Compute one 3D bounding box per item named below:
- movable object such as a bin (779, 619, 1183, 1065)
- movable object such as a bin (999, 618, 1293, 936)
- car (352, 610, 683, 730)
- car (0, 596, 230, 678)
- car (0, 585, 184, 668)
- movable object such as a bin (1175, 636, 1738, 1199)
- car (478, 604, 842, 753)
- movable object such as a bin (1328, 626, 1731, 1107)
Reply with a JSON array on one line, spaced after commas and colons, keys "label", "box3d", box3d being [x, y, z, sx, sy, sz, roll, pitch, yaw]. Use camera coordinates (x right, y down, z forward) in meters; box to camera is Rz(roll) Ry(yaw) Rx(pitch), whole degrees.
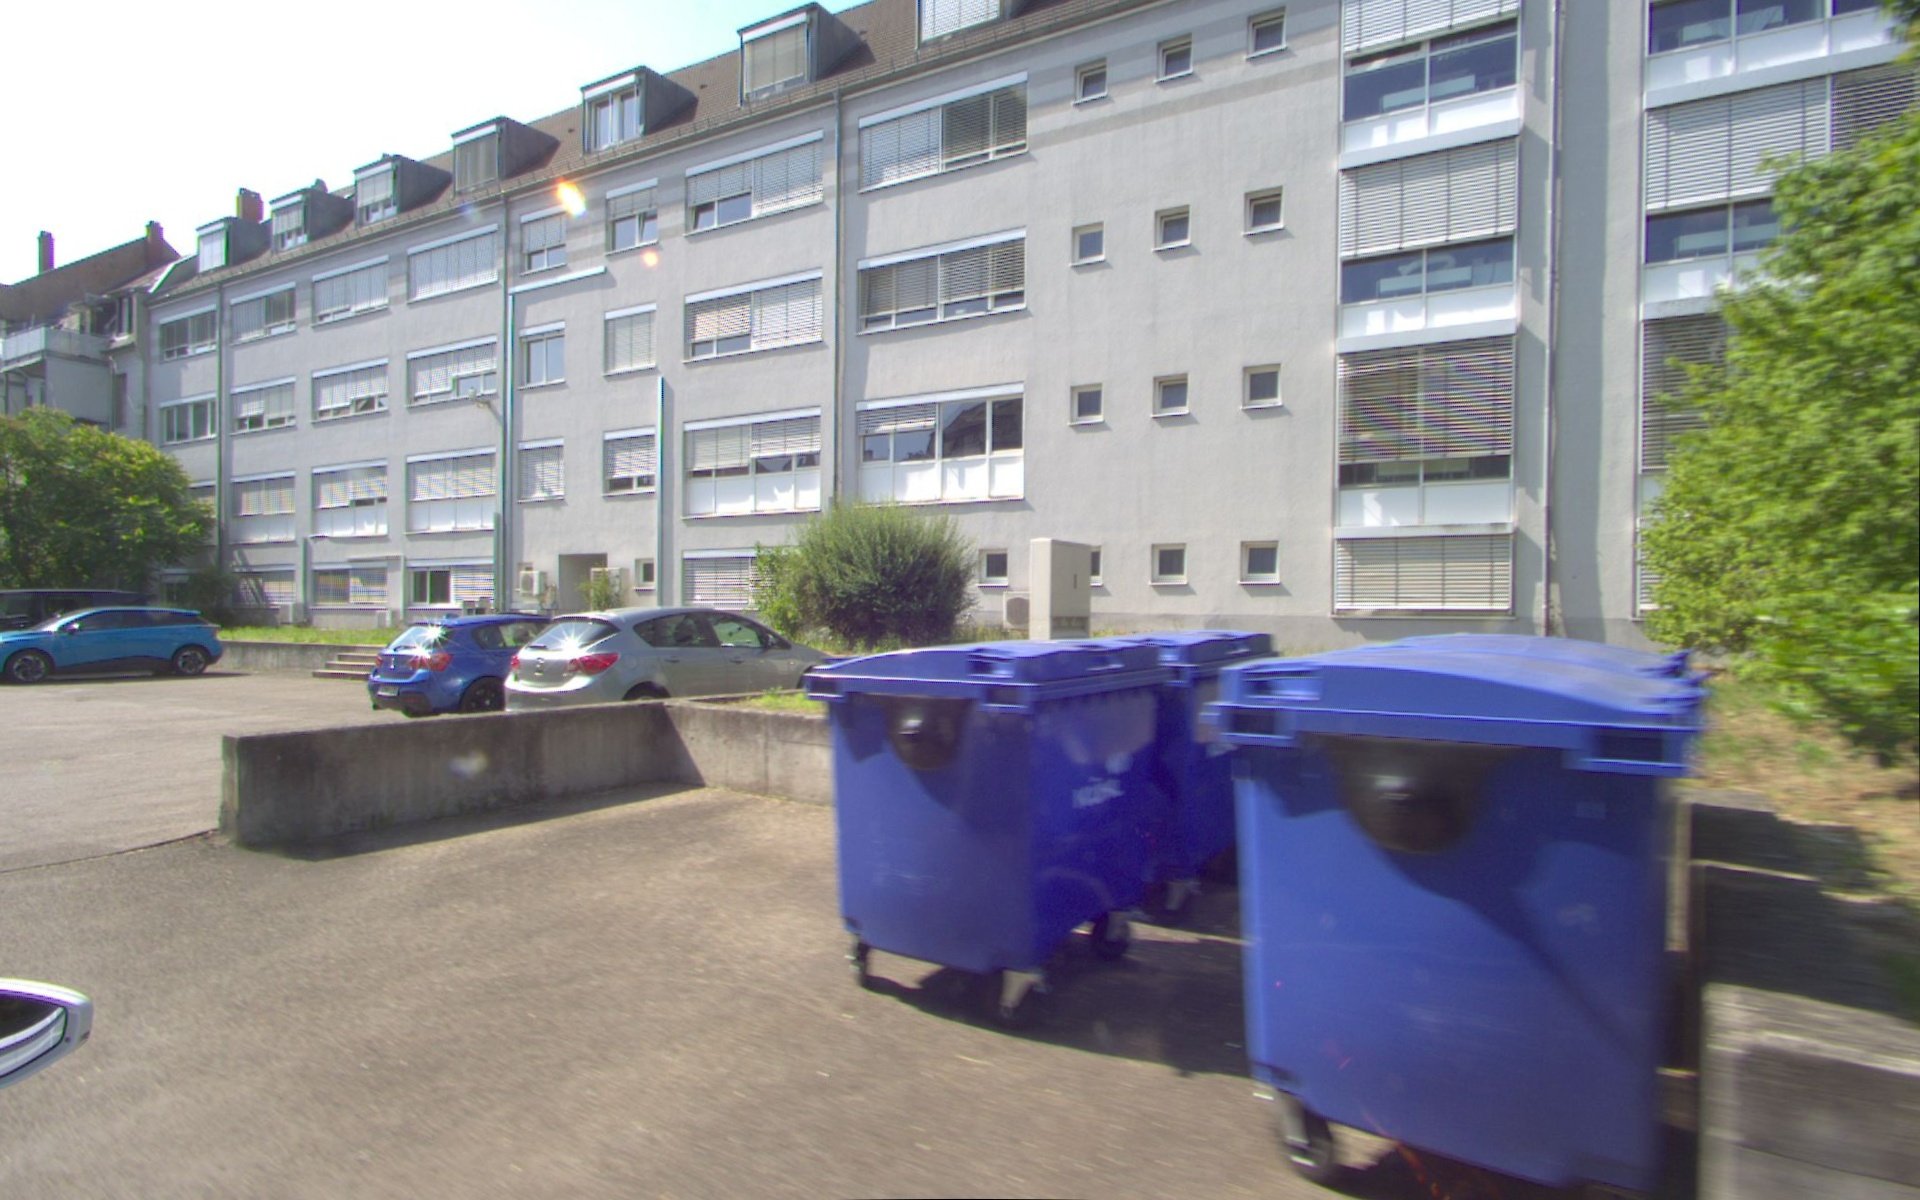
[{"label": "movable object such as a bin", "box3d": [0.126, 0.773, 3.955, 1.112, 1.373, 1.245, 1, 0, 32]}, {"label": "movable object such as a bin", "box3d": [0.978, 0.781, 5.118, 1.126, 1.354, 1.153, 1, 0, 32]}, {"label": "car", "box3d": [-6.007, 0.852, 14.010, 1.666, 1.412, 3.975, 1, 0, 35]}, {"label": "car", "box3d": [-18.429, 0.712, 21.359, 1.971, 1.553, 4.220, 1, 1, 32]}, {"label": "car", "box3d": [-21.191, 0.558, 23.007, 2.061, 1.791, 4.953, 1, 1, 23]}, {"label": "movable object such as a bin", "box3d": [1.386, 0.796, 2.726, 1.128, 1.337, 1.242, -1, 1, 37]}, {"label": "car", "box3d": [-3.366, 0.783, 11.942, 1.786, 1.446, 3.979, 1, 0, 33]}, {"label": "movable object such as a bin", "box3d": [2.152, 0.794, 3.736, 1.128, 1.358, 1.242, 1, 0, 38]}]
